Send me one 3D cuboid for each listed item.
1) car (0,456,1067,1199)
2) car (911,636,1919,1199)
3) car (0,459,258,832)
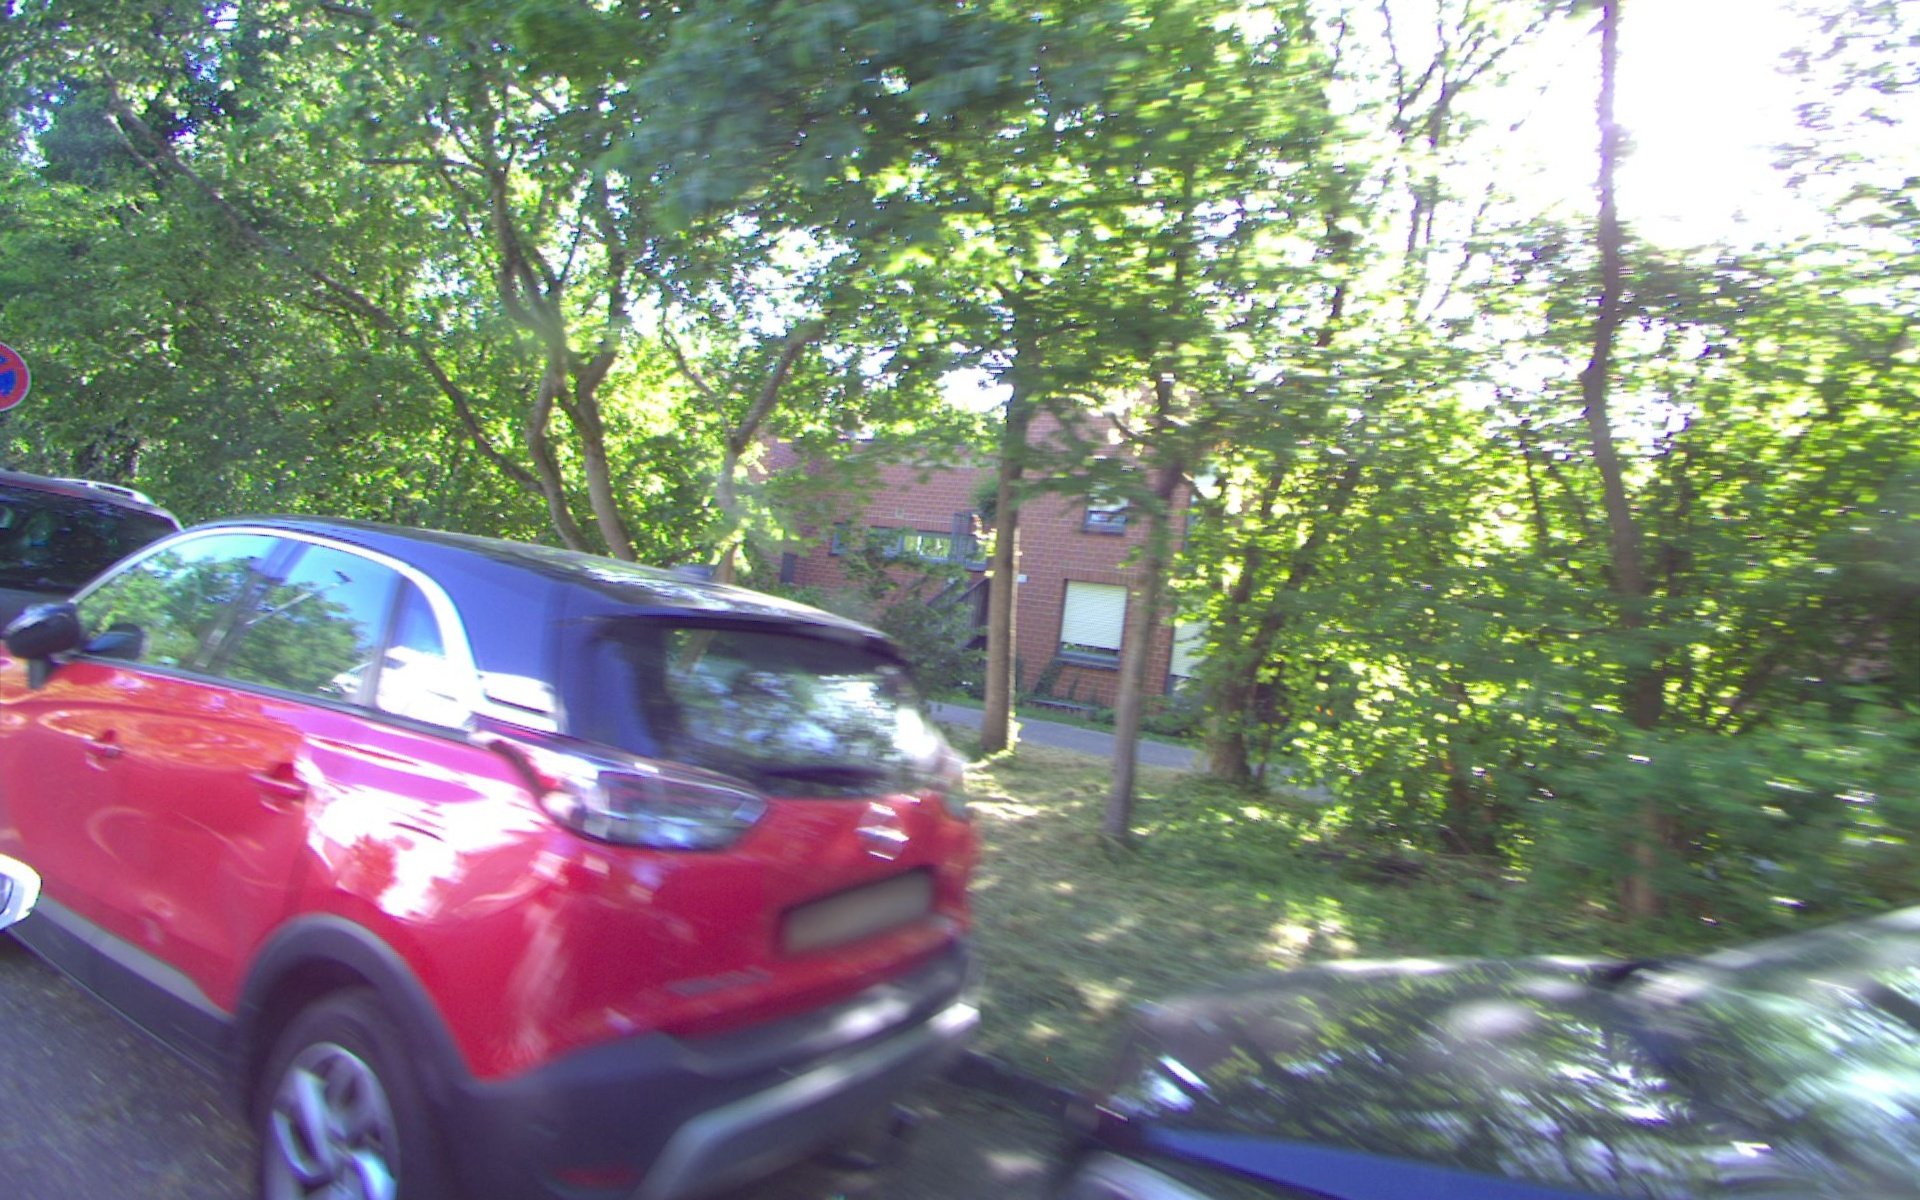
[{"bbox_3d":[-1.901,0.538,3.334,3.998,1.591,1.683,7,-2,31],"label":"car"},{"bbox_3d":[2.108,1.132,1.218,4.077,1.526,1.717,7,-2,28],"label":"car"},{"bbox_3d":[-5.929,0.000,5.499,4.066,1.640,1.683,7,-2,30],"label":"car"}]
